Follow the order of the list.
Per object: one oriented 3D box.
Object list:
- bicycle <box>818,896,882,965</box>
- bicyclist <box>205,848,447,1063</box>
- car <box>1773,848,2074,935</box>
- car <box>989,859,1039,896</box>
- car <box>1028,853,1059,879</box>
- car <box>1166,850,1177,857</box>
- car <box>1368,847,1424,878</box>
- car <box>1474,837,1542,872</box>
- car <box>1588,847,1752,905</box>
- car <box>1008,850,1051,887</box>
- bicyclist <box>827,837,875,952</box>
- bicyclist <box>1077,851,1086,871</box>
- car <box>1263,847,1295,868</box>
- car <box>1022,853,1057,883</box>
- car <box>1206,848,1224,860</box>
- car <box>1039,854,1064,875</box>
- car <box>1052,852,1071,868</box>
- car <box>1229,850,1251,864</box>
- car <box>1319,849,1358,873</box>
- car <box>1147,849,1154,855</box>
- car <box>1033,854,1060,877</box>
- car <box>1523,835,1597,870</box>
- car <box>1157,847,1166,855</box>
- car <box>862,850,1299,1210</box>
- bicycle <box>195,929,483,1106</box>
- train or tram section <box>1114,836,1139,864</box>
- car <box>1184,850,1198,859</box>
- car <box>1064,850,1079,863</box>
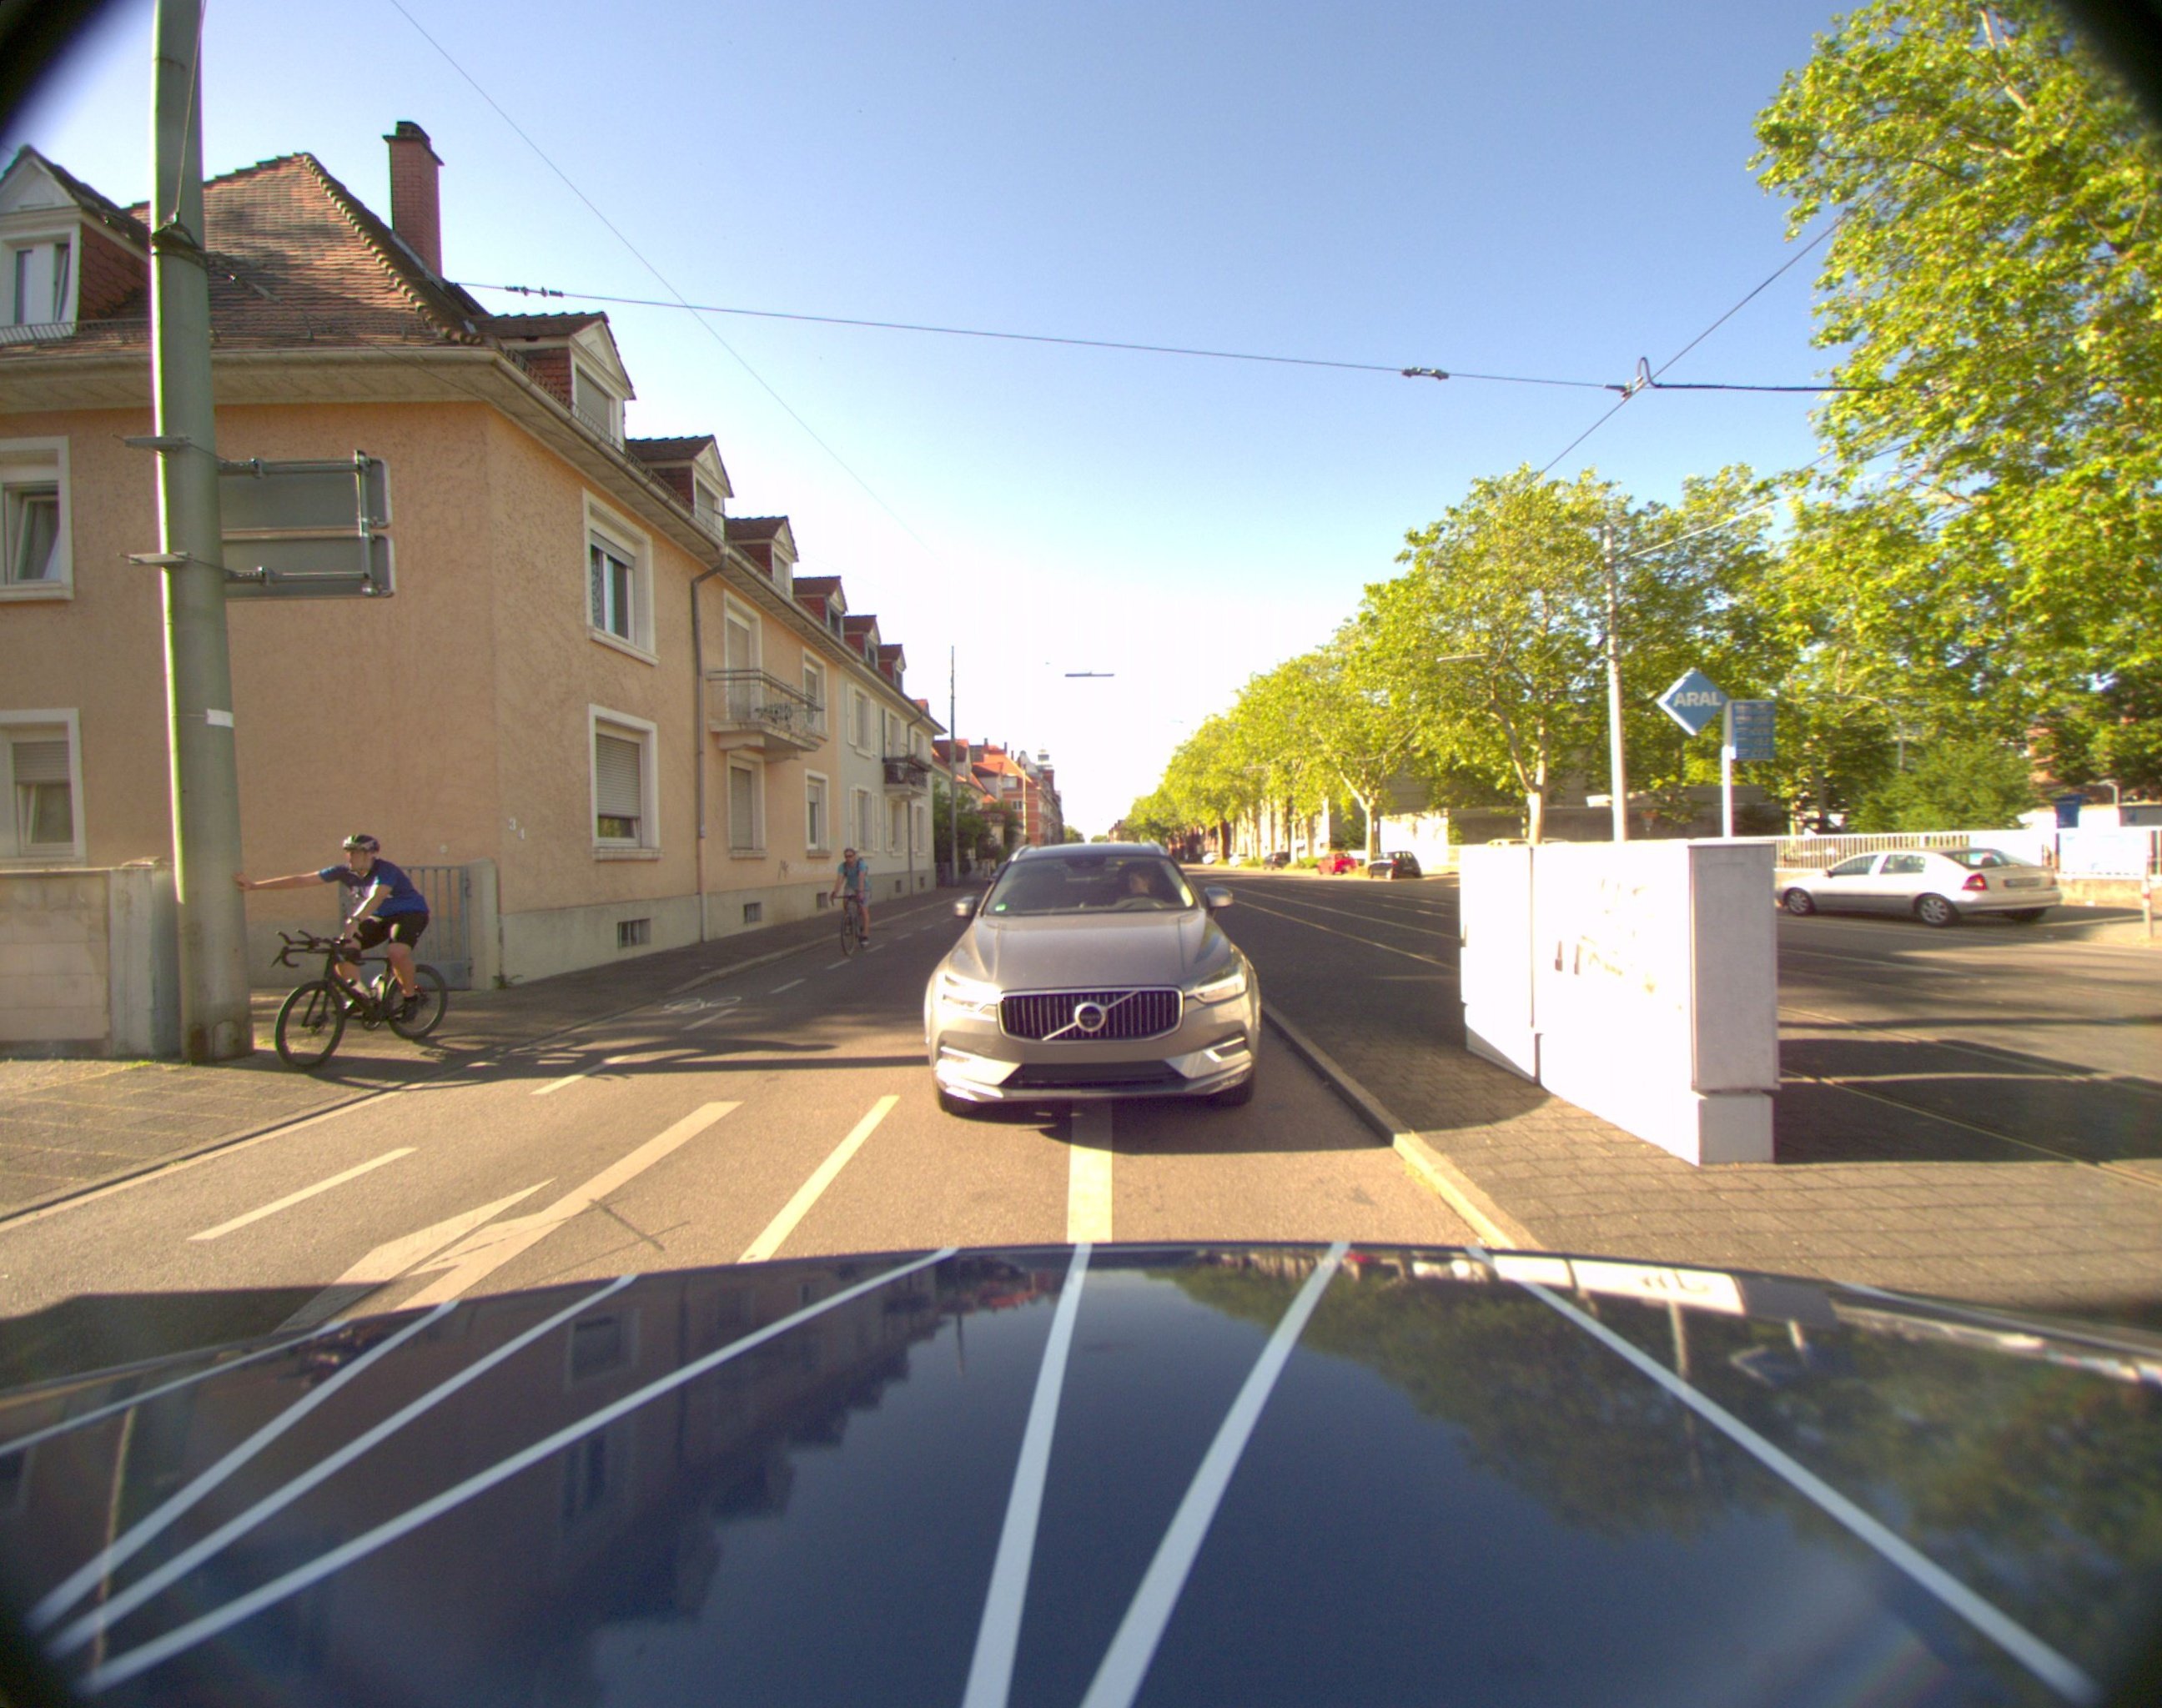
[{"bbox_3d":[-4.013,1.298,13.324,0.519,1.084,1.796,-1,-2,2],"label":"bicycle"},{"bbox_3d":[-6.218,0.789,6.328,1.051,1.599,0.885,4,0,1],"label":"bicyclist"},{"bbox_3d":[16.223,0.642,14.976,1.695,1.395,3.813,-3,0,1],"label":"car"},{"bbox_3d":[-3.227,1.086,37.039,1.695,1.571,3.815,-3,0,5],"label":"car"},{"bbox_3d":[-2.638,0.838,53.998,1.793,1.673,3.814,-3,0,2],"label":"car"},{"bbox_3d":[19.254,-0.185,161.871,1.695,1.440,3.749,-3,0,1],"label":"car"},{"bbox_3d":[16.880,0.430,40.890,1.599,1.498,3.304,-3,0,1],"label":"car"},{"bbox_3d":[21.542,0.017,38.468,1.599,1.606,3.304,-2,0,1],"label":"car"},{"bbox_3d":[16.408,0.562,21.411,1.695,1.395,3.749,-3,0,1],"label":"car"},{"bbox_3d":[-2.829,0.744,42.813,1.793,1.828,5.149,-3,0,2],"label":"car"},{"bbox_3d":[-4.025,0.706,13.352,0.519,1.922,0.946,-1,-2,2],"label":"bicyclist"},{"bbox_3d":[0.042,0.561,62.601,0.685,1.611,0.855,-2,1,1],"label":"bicyclist"},{"bbox_3d":[17.131,0.278,65.883,1.695,1.648,3.749,-3,0,1],"label":"car"},{"bbox_3d":[-2.591,0.857,48.478,1.793,1.673,3.814,-3,0,2],"label":"car"},{"bbox_3d":[17.783,0.032,100.709,1.695,1.440,3.749,-3,0,1],"label":"car"},{"bbox_3d":[-2.559,0.864,67.067,1.793,1.673,3.814,-3,0,2],"label":"car"},{"bbox_3d":[-2.159,0.640,85.362,1.793,1.673,3.814,-3,0,2],"label":"car"},{"bbox_3d":[17.455,0.297,83.538,1.695,1.440,3.749,-3,0,1],"label":"car"},{"bbox_3d":[16.872,0.438,49.861,1.599,1.498,2.622,-3,0,1],"label":"car"},{"bbox_3d":[19.638,-0.611,214.802,1.695,1.775,3.749,-3,0,1],"label":"car"},{"bbox_3d":[-2.726,0.890,61.023,1.793,1.673,3.814,-3,0,2],"label":"car"},{"bbox_3d":[23.875,-0.079,38.020,1.599,1.583,3.304,-2,0,1],"label":"car"},{"bbox_3d":[20.224,-0.717,191.409,1.695,1.775,3.749,-3,0,1],"label":"car"},{"bbox_3d":[0.028,0.828,5.746,1.998,1.628,4.306,-2,0,1],"label":"car"},{"bbox_3d":[-6.010,1.259,6.324,0.592,1.062,1.775,4,0,1],"label":"bicycle"},{"bbox_3d":[6.371,-0.594,107.974,2.717,3.643,12.653,-1,0,0],"label":"train or tram section"},{"bbox_3d":[18.187,0.078,125.517,1.695,1.440,3.749,-3,0,1],"label":"car"},{"bbox_3d":[-1.303,0.371,107.095,1.793,1.673,3.814,-3,0,2],"label":"car"}]
